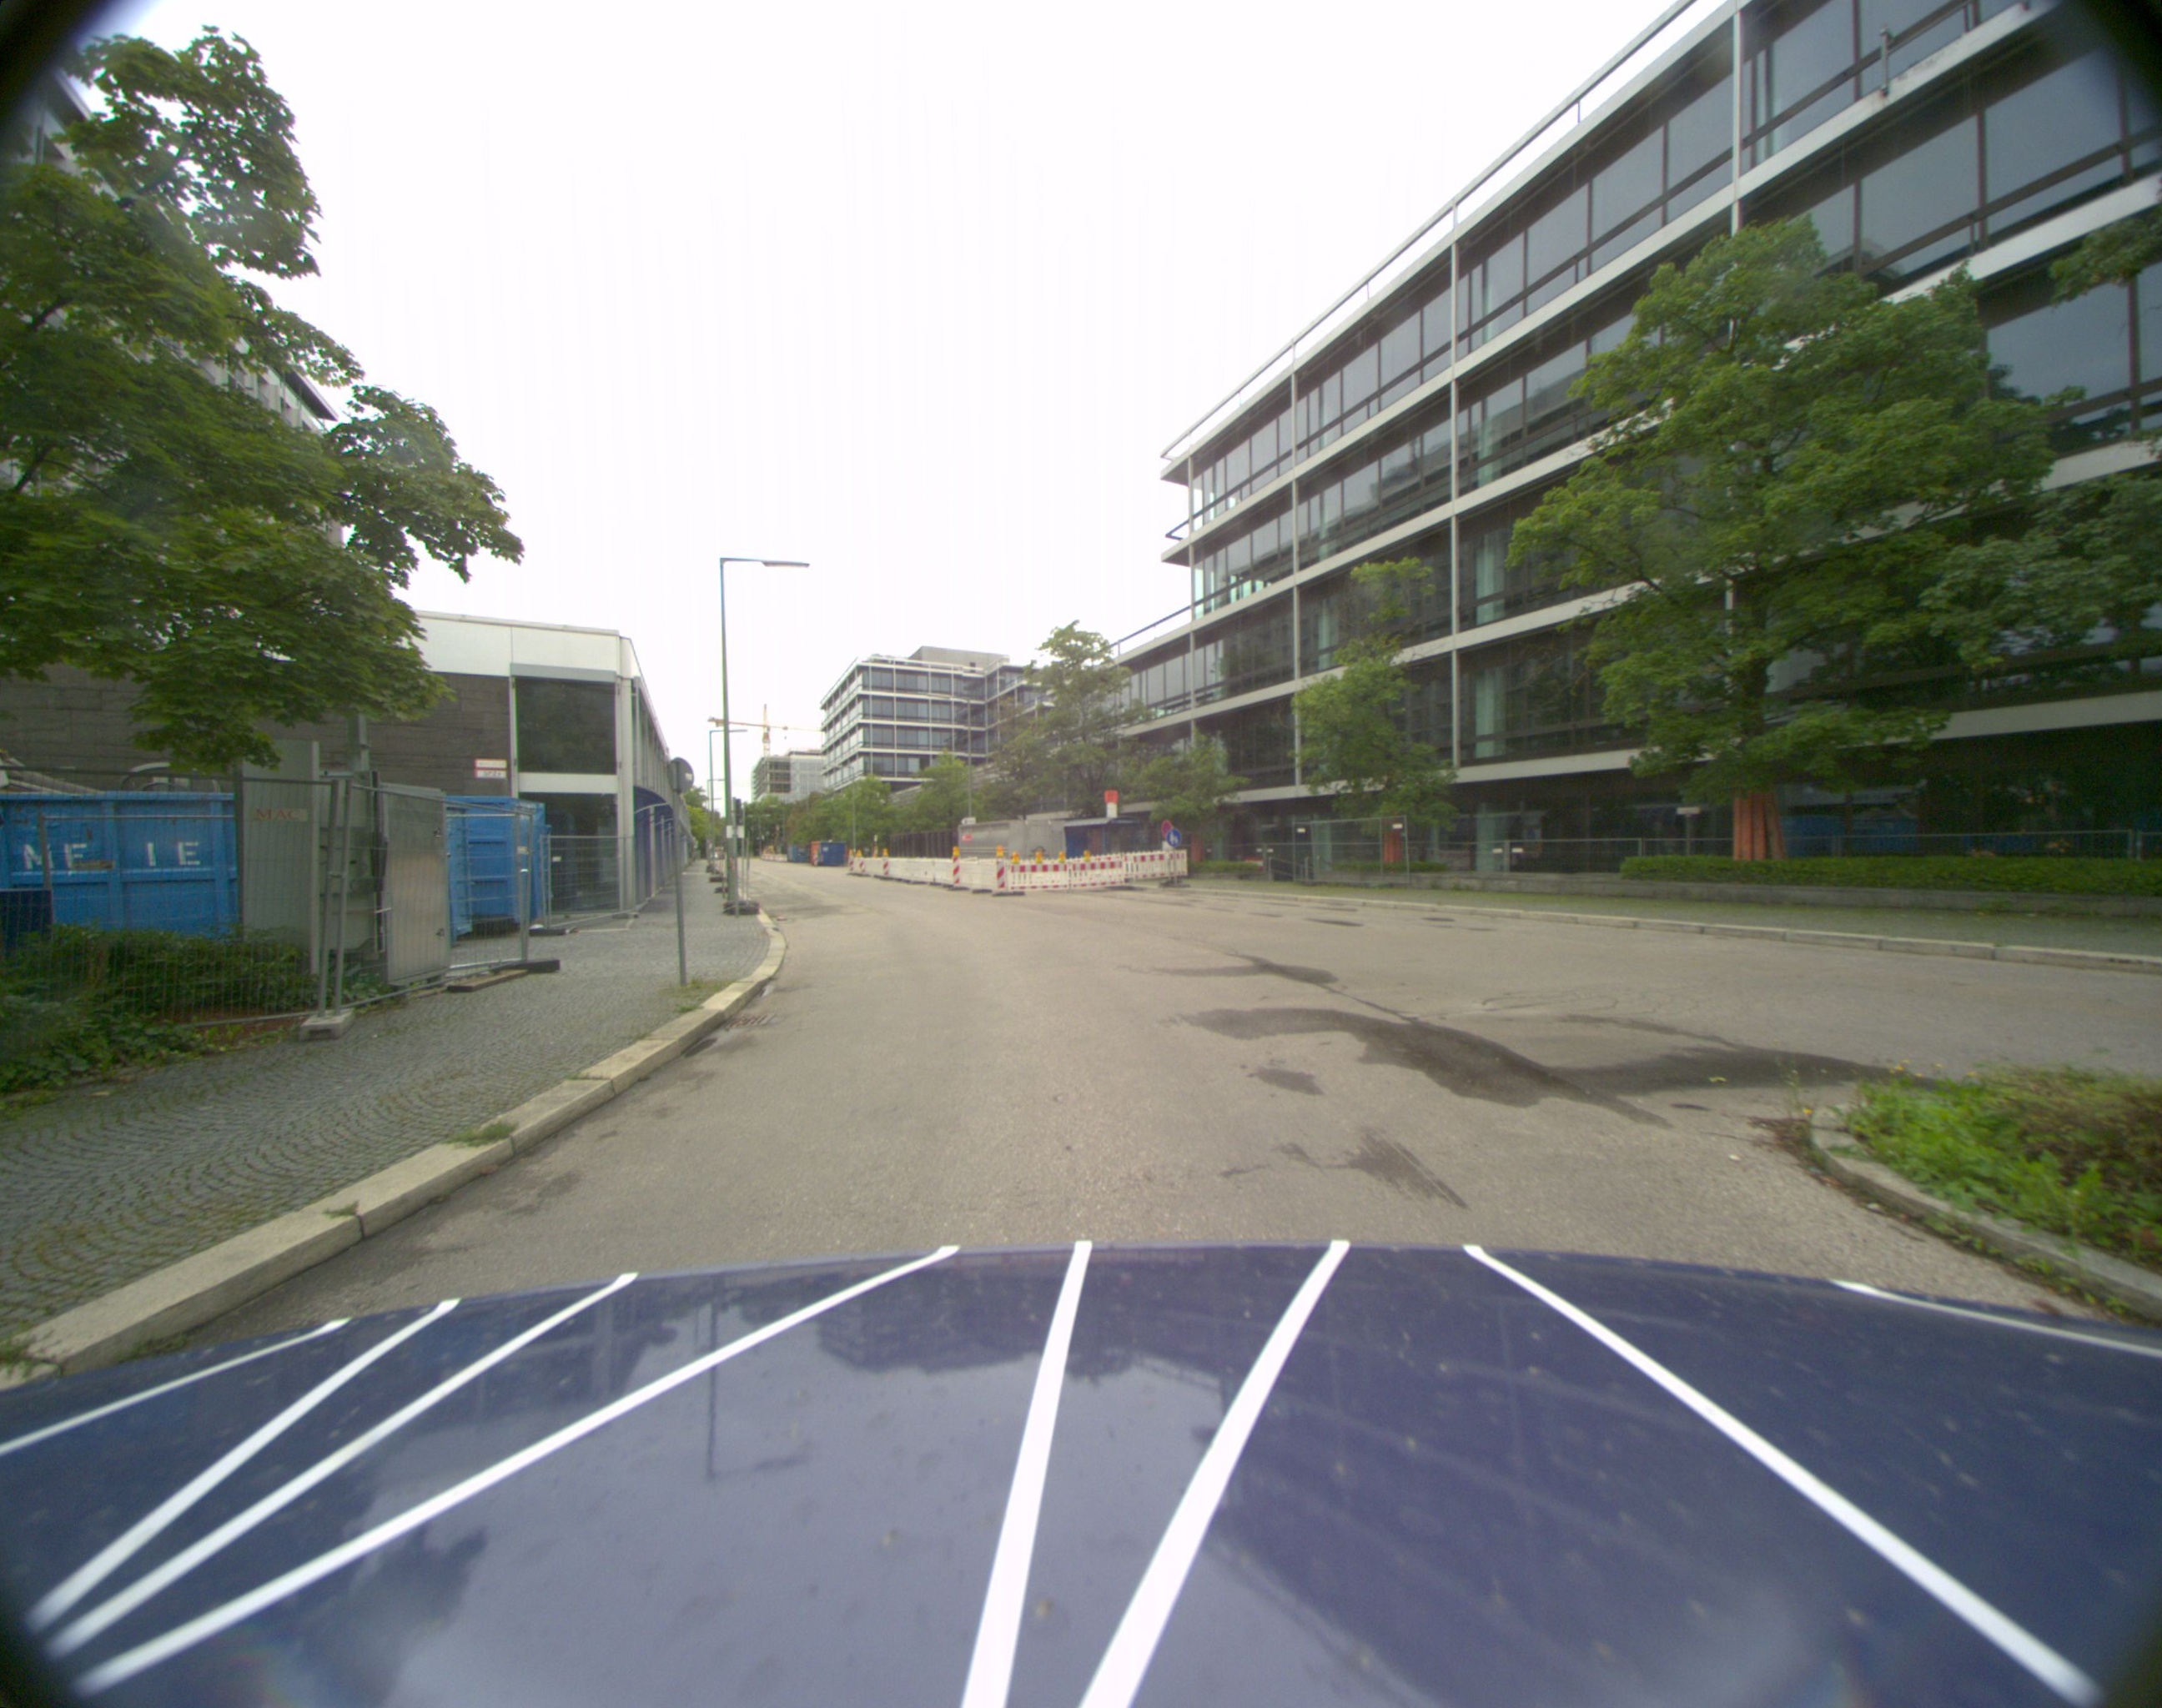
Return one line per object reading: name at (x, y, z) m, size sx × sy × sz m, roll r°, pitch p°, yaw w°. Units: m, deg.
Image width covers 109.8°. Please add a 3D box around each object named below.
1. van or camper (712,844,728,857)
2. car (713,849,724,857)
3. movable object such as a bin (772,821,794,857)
van or camper at (-77.326, -0.761, 162.703) m, size 2.672 × 2.751 × 6.900 m, roll -1°, pitch 1°, yaw -23°
car at (-74.902, -0.140, 156.923) m, size 1.916 × 1.627 × 3.991 m, roll -1°, pitch 1°, yaw -25°
movable object such as a bin at (-54.264, -2.661, 138.164) m, size 3.248 × 6.286 × 8.318 m, roll -1°, pitch 1°, yaw -24°
